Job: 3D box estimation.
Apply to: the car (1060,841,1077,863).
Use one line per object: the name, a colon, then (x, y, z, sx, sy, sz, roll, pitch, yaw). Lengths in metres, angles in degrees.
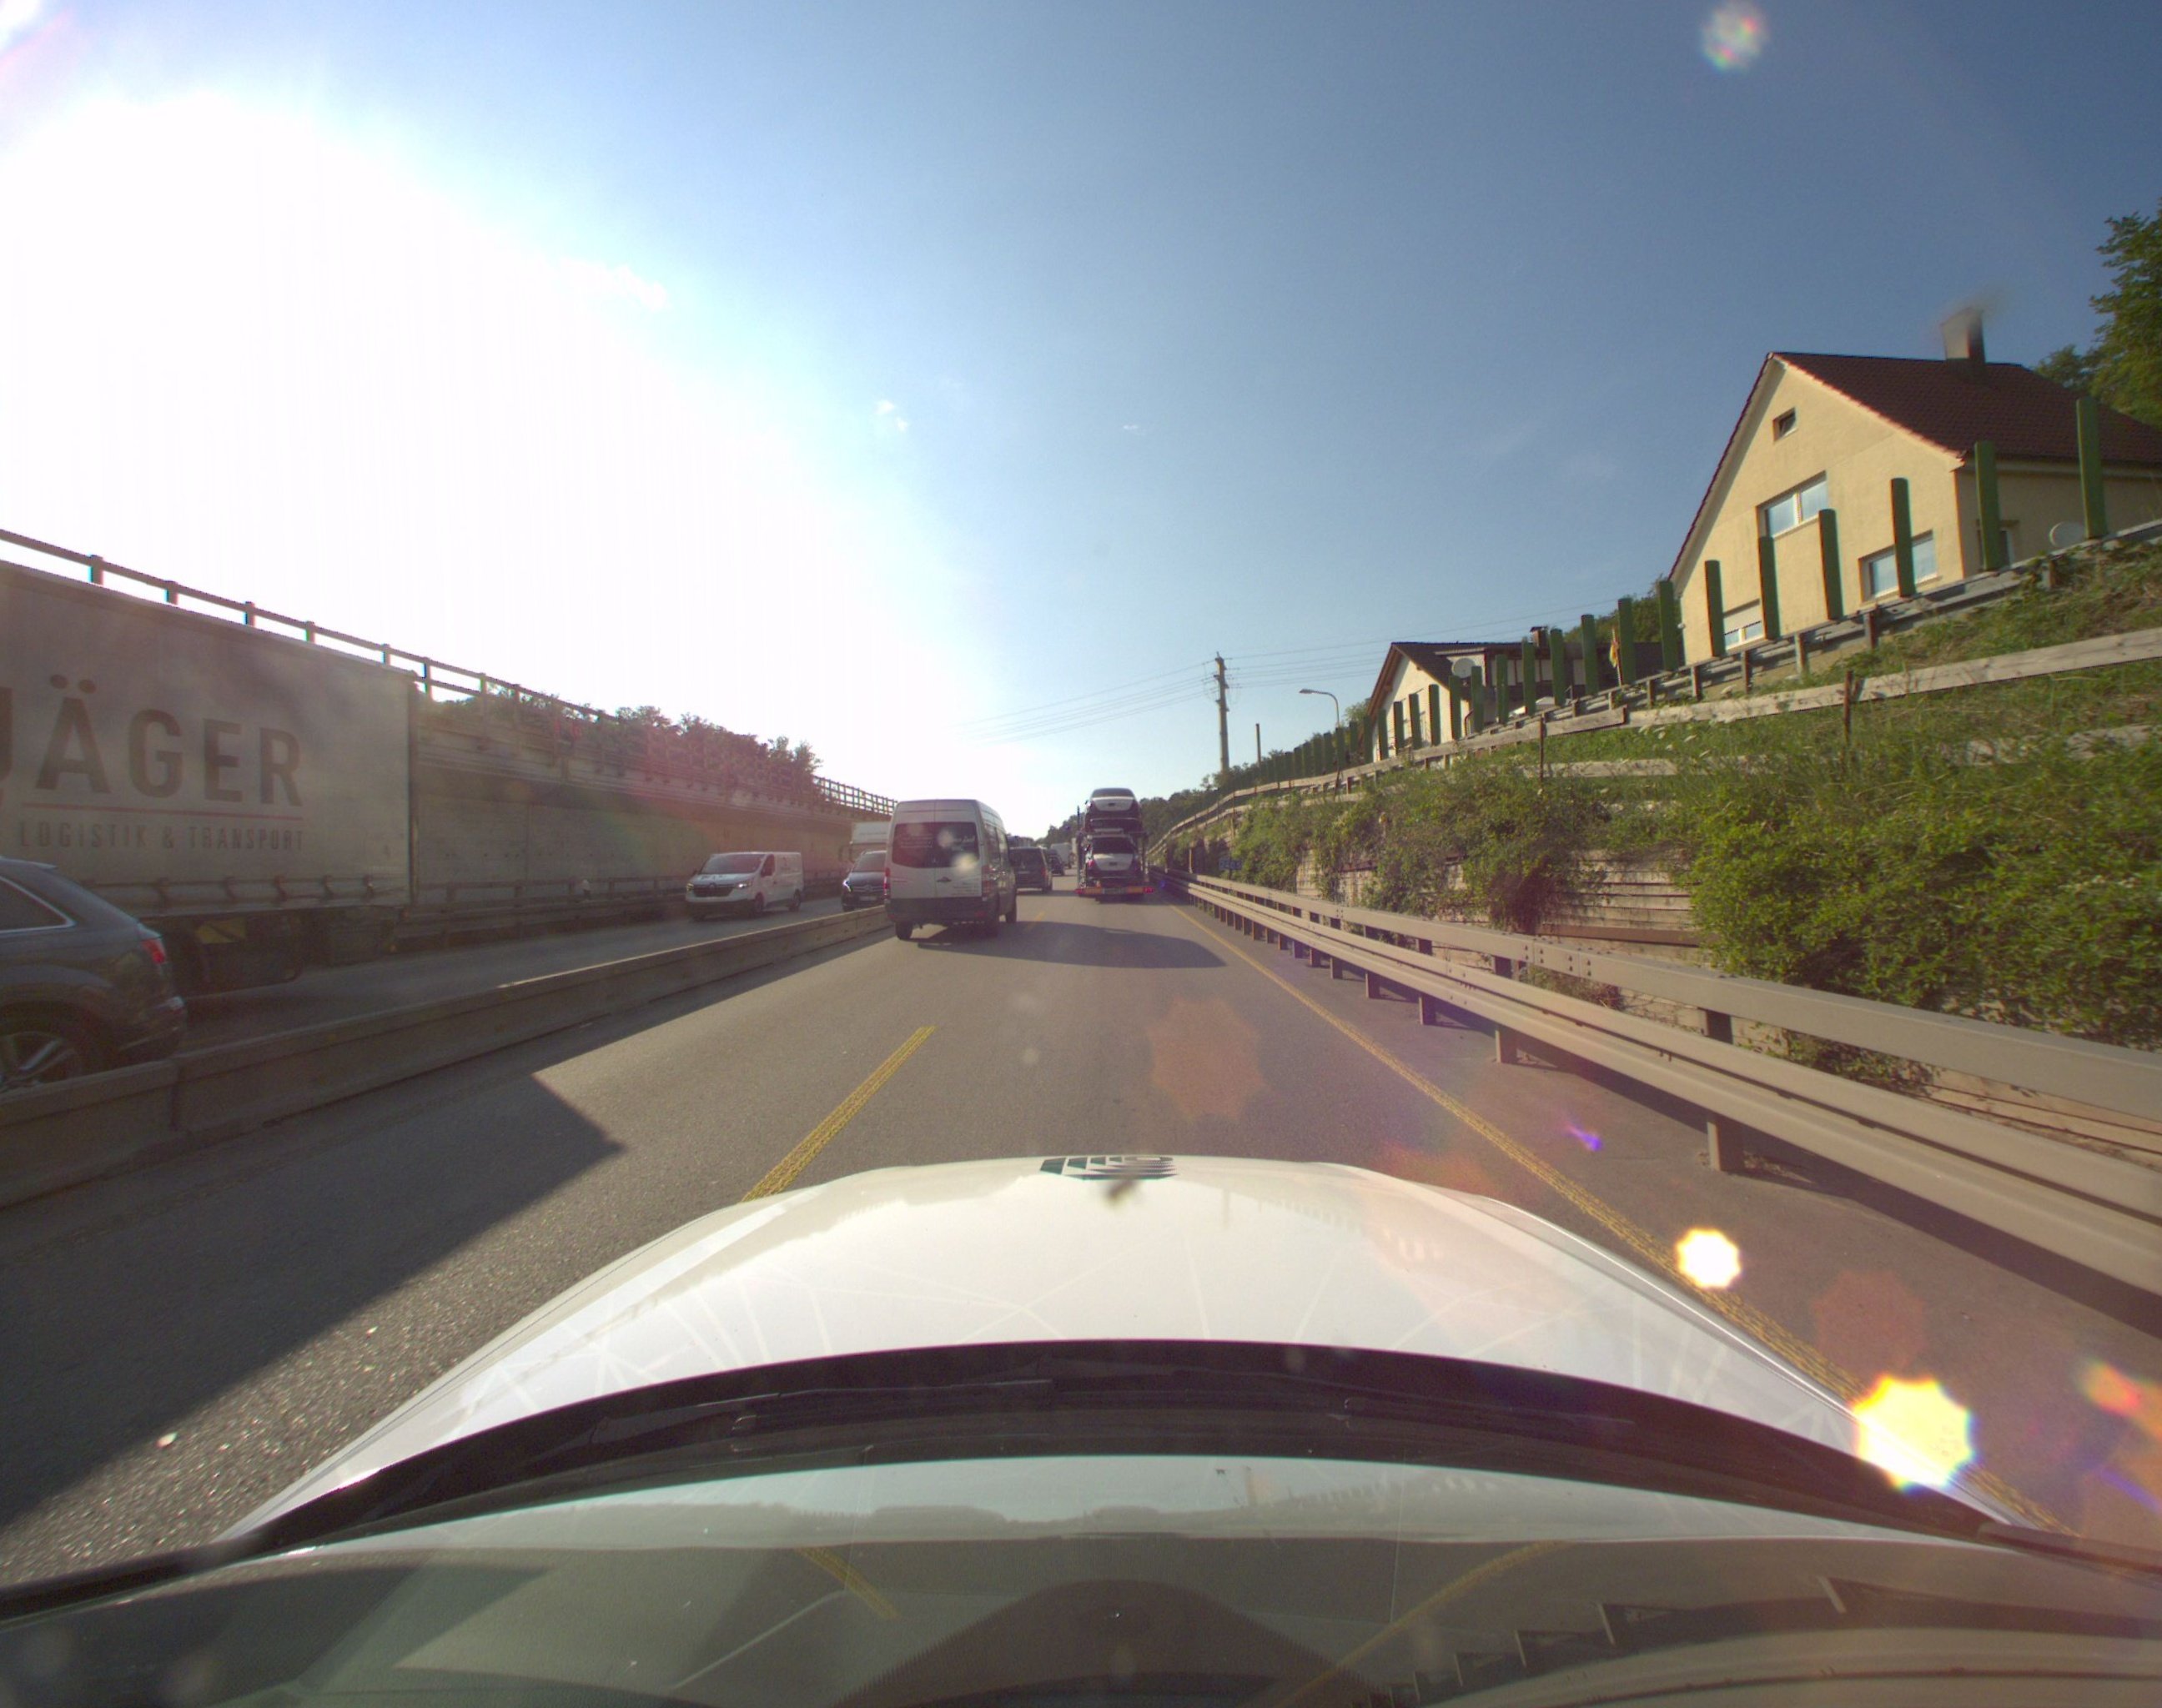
car: (-3.021, -0.380, 191.174, 3.438, 5.035, 9.638, -1, 0, -4)

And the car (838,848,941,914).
car: (-6.028, 0.808, 26.344, 1.978, 1.922, 5.292, 0, 0, 1)

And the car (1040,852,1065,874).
car: (-2.078, 0.650, 60.382, 1.719, 1.522, 3.973, -1, 0, 0)

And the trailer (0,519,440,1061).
trailer: (-9.964, -0.537, 3.738, 2.903, 4.240, 13.770, -1, -1, 1)

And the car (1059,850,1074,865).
car: (-1.972, 0.478, 111.913, 1.879, 2.100, 3.766, -1, 0, 1)

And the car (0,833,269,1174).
car: (-6.556, 0.768, 3.043, 1.816, 1.772, 5.140, -1, -1, 1)

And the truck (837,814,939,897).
truck: (-9.180, 0.129, 39.786, 2.705, 3.424, 8.141, -4, -1, 1)

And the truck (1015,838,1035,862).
truck: (-10.236, -0.607, 150.585, 2.975, 4.153, 15.842, -1, 0, -2)

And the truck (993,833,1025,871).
truck: (-8.528, -0.194, 97.466, 2.616, 4.112, 9.625, -4, 0, 0)

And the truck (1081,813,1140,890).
truck: (1.492, -0.066, 41.382, 2.672, 3.535, 7.196, -1, -1, 2)

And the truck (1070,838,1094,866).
truck: (0.273, -0.343, 144.962, 4.051, 4.679, 10.593, -2, 0, 1)

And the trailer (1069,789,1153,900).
trailer: (1.236, -0.197, 33.816, 2.672, 3.535, 15.294, -1, -1, 2)

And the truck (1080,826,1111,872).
truck: (1.469, -0.504, 86.725, 2.899, 4.606, 7.281, -2, 0, -1)

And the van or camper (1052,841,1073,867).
van or camper: (-1.896, 0.054, 83.685, 1.962, 2.592, 5.040, -1, -1, 0)

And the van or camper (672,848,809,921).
van or camper: (-9.967, 0.836, 24.345, 1.910, 1.922, 4.924, -1, 0, 1)

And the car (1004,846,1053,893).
car: (-2.226, 0.694, 35.453, 1.802, 1.904, 3.999, -1, -1, 0)

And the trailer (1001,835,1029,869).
trailer: (-8.574, -0.242, 107.047, 2.598, 4.112, 9.626, -5, 0, 0)

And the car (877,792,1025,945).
car: (-2.507, 0.263, 17.273, 1.986, 2.648, 5.532, -2, 0, 2)
